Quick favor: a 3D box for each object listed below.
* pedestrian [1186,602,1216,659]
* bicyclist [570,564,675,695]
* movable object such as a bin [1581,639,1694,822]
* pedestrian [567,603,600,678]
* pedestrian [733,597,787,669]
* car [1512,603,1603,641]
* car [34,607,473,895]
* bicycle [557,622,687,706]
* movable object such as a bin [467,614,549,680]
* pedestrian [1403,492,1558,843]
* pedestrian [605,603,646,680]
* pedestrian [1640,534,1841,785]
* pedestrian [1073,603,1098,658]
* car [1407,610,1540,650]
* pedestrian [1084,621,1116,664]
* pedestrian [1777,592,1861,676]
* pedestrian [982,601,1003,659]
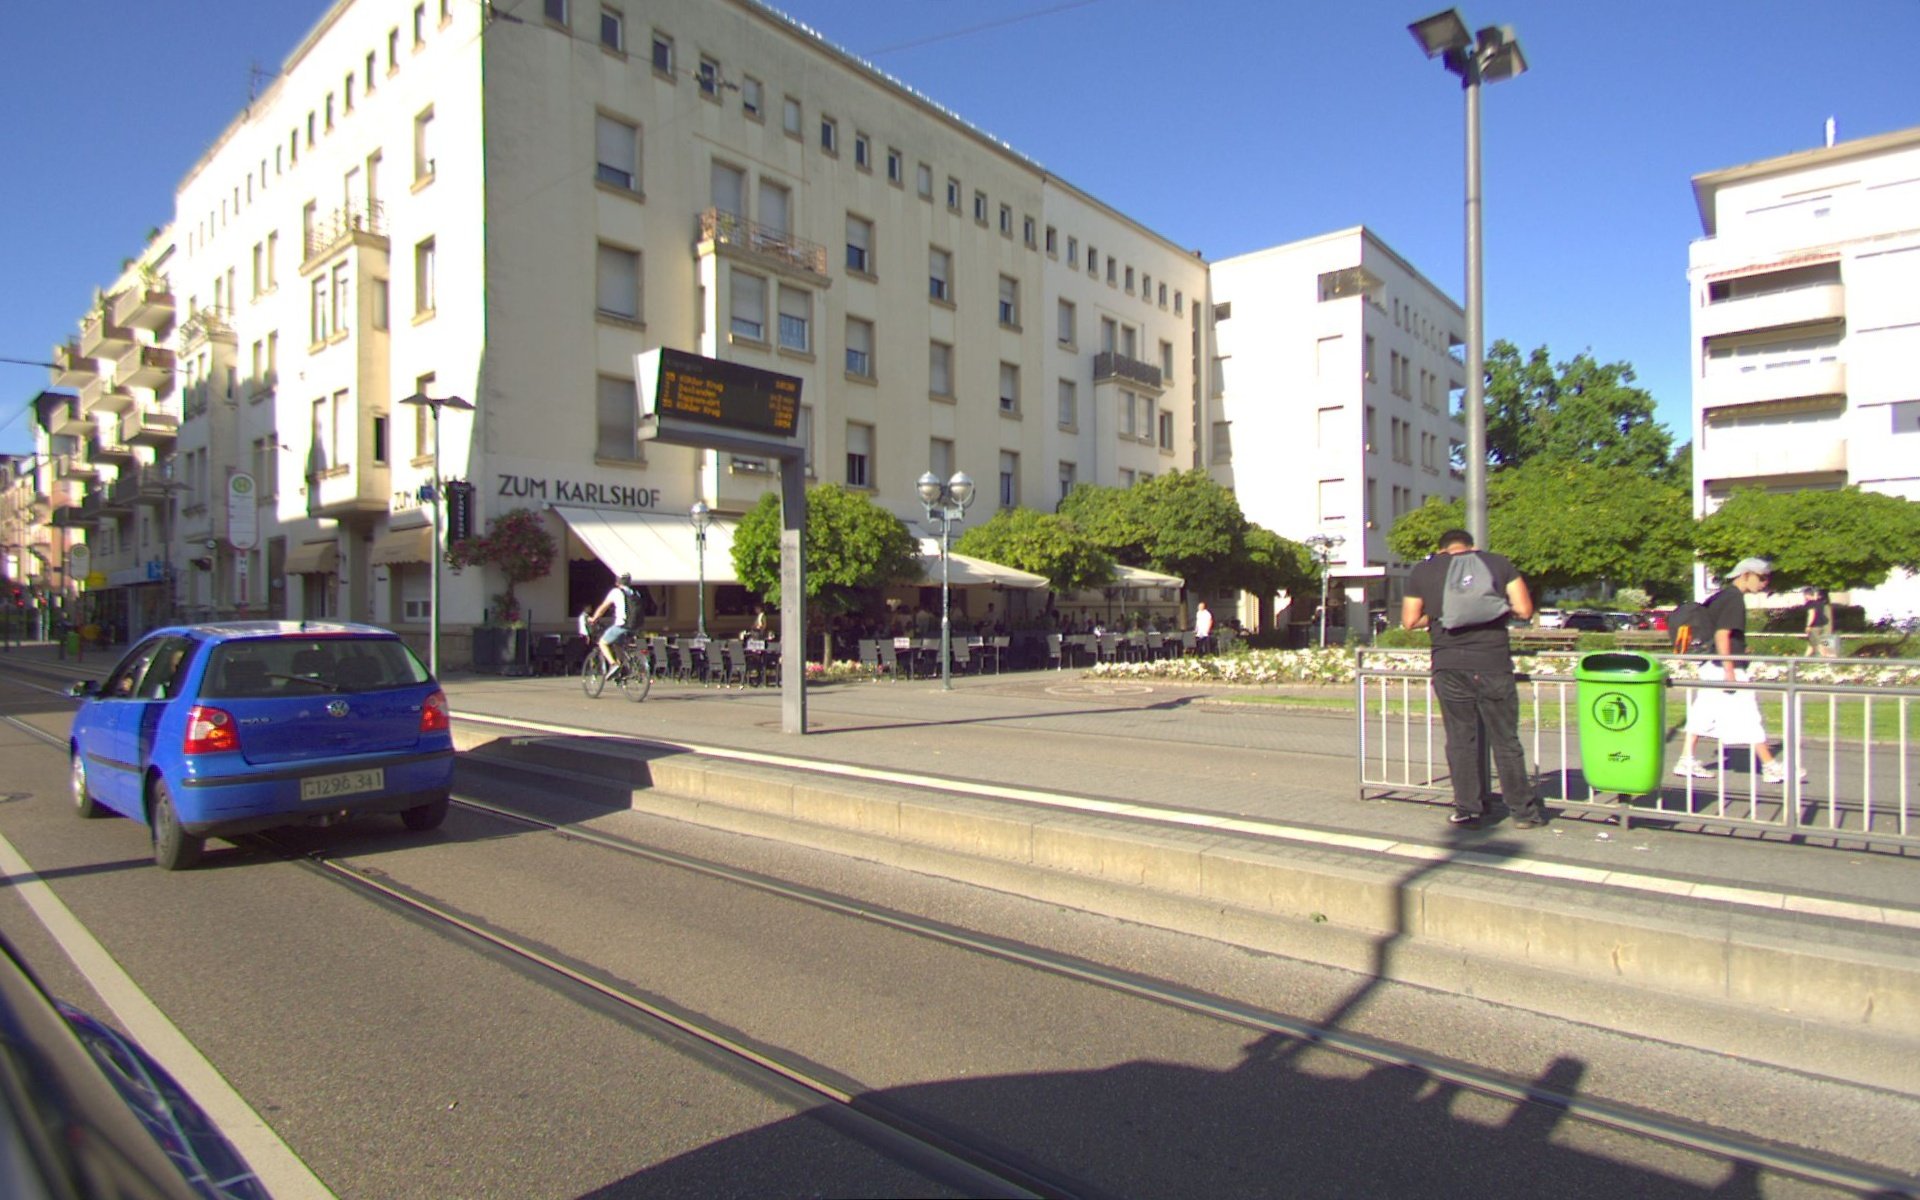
[{"bbox_3d":[7.620,0.963,31.965,0.710,1.750,0.673,-2,-4,1],"label":"pedestrian"},{"bbox_3d":[-4.910,0.419,14.745,1.092,1.807,0.996,-1,-1,33],"label":"bicyclist"},{"bbox_3d":[3.445,0.638,5.148,0.416,0.866,0.332,-2,-1,44],"label":"movable object such as a bin"},{"bbox_3d":[-8.560,0.921,22.975,0.662,1.657,0.753,0,-4,-22],"label":"pedestrian"},{"bbox_3d":[-4.766,0.777,24.152,0.755,1.657,1.054,-1,-1,36],"label":"pedestrian"},{"bbox_3d":[23.937,0.876,40.547,2.932,1.497,1.399,-1,-1,41],"label":"car"},{"bbox_3d":[-5.241,0.836,7.299,3.997,1.499,1.650,-1,0,41],"label":"car"},{"bbox_3d":[-4.941,0.899,14.737,2.030,1.134,0.706,-1,-1,34],"label":"bicycle"},{"bbox_3d":[-9.987,1.012,22.372,1.127,1.410,1.302,-1,-1,40],"label":"movable object such as a bin"},{"bbox_3d":[2.780,0.344,5.414,0.607,1.731,0.542,-1,-3,43],"label":"pedestrian"},{"bbox_3d":[-7.393,0.925,22.373,0.663,1.657,0.678,1,-5,-37],"label":"pedestrian"},{"bbox_3d":[5.801,0.422,7.534,0.980,1.693,0.976,2,-3,-41],"label":"pedestrian"},{"bbox_3d":[4.144,1.020,33.395,0.677,1.750,0.671,-3,-4,14],"label":"pedestrian"},{"bbox_3d":[17.620,1.015,34.794,3.713,1.310,1.973,-1,-1,41],"label":"car"},{"bbox_3d":[4.243,1.287,30.658,0.672,1.280,0.636,-5,-5,36],"label":"pedestrian"},{"bbox_3d":[19.120,0.734,22.533,1.064,1.801,1.179,0,-1,-37],"label":"pedestrian"},{"bbox_3d":[1.049,0.960,32.339,0.641,1.837,0.576,-1,-1,5],"label":"pedestrian"}]
